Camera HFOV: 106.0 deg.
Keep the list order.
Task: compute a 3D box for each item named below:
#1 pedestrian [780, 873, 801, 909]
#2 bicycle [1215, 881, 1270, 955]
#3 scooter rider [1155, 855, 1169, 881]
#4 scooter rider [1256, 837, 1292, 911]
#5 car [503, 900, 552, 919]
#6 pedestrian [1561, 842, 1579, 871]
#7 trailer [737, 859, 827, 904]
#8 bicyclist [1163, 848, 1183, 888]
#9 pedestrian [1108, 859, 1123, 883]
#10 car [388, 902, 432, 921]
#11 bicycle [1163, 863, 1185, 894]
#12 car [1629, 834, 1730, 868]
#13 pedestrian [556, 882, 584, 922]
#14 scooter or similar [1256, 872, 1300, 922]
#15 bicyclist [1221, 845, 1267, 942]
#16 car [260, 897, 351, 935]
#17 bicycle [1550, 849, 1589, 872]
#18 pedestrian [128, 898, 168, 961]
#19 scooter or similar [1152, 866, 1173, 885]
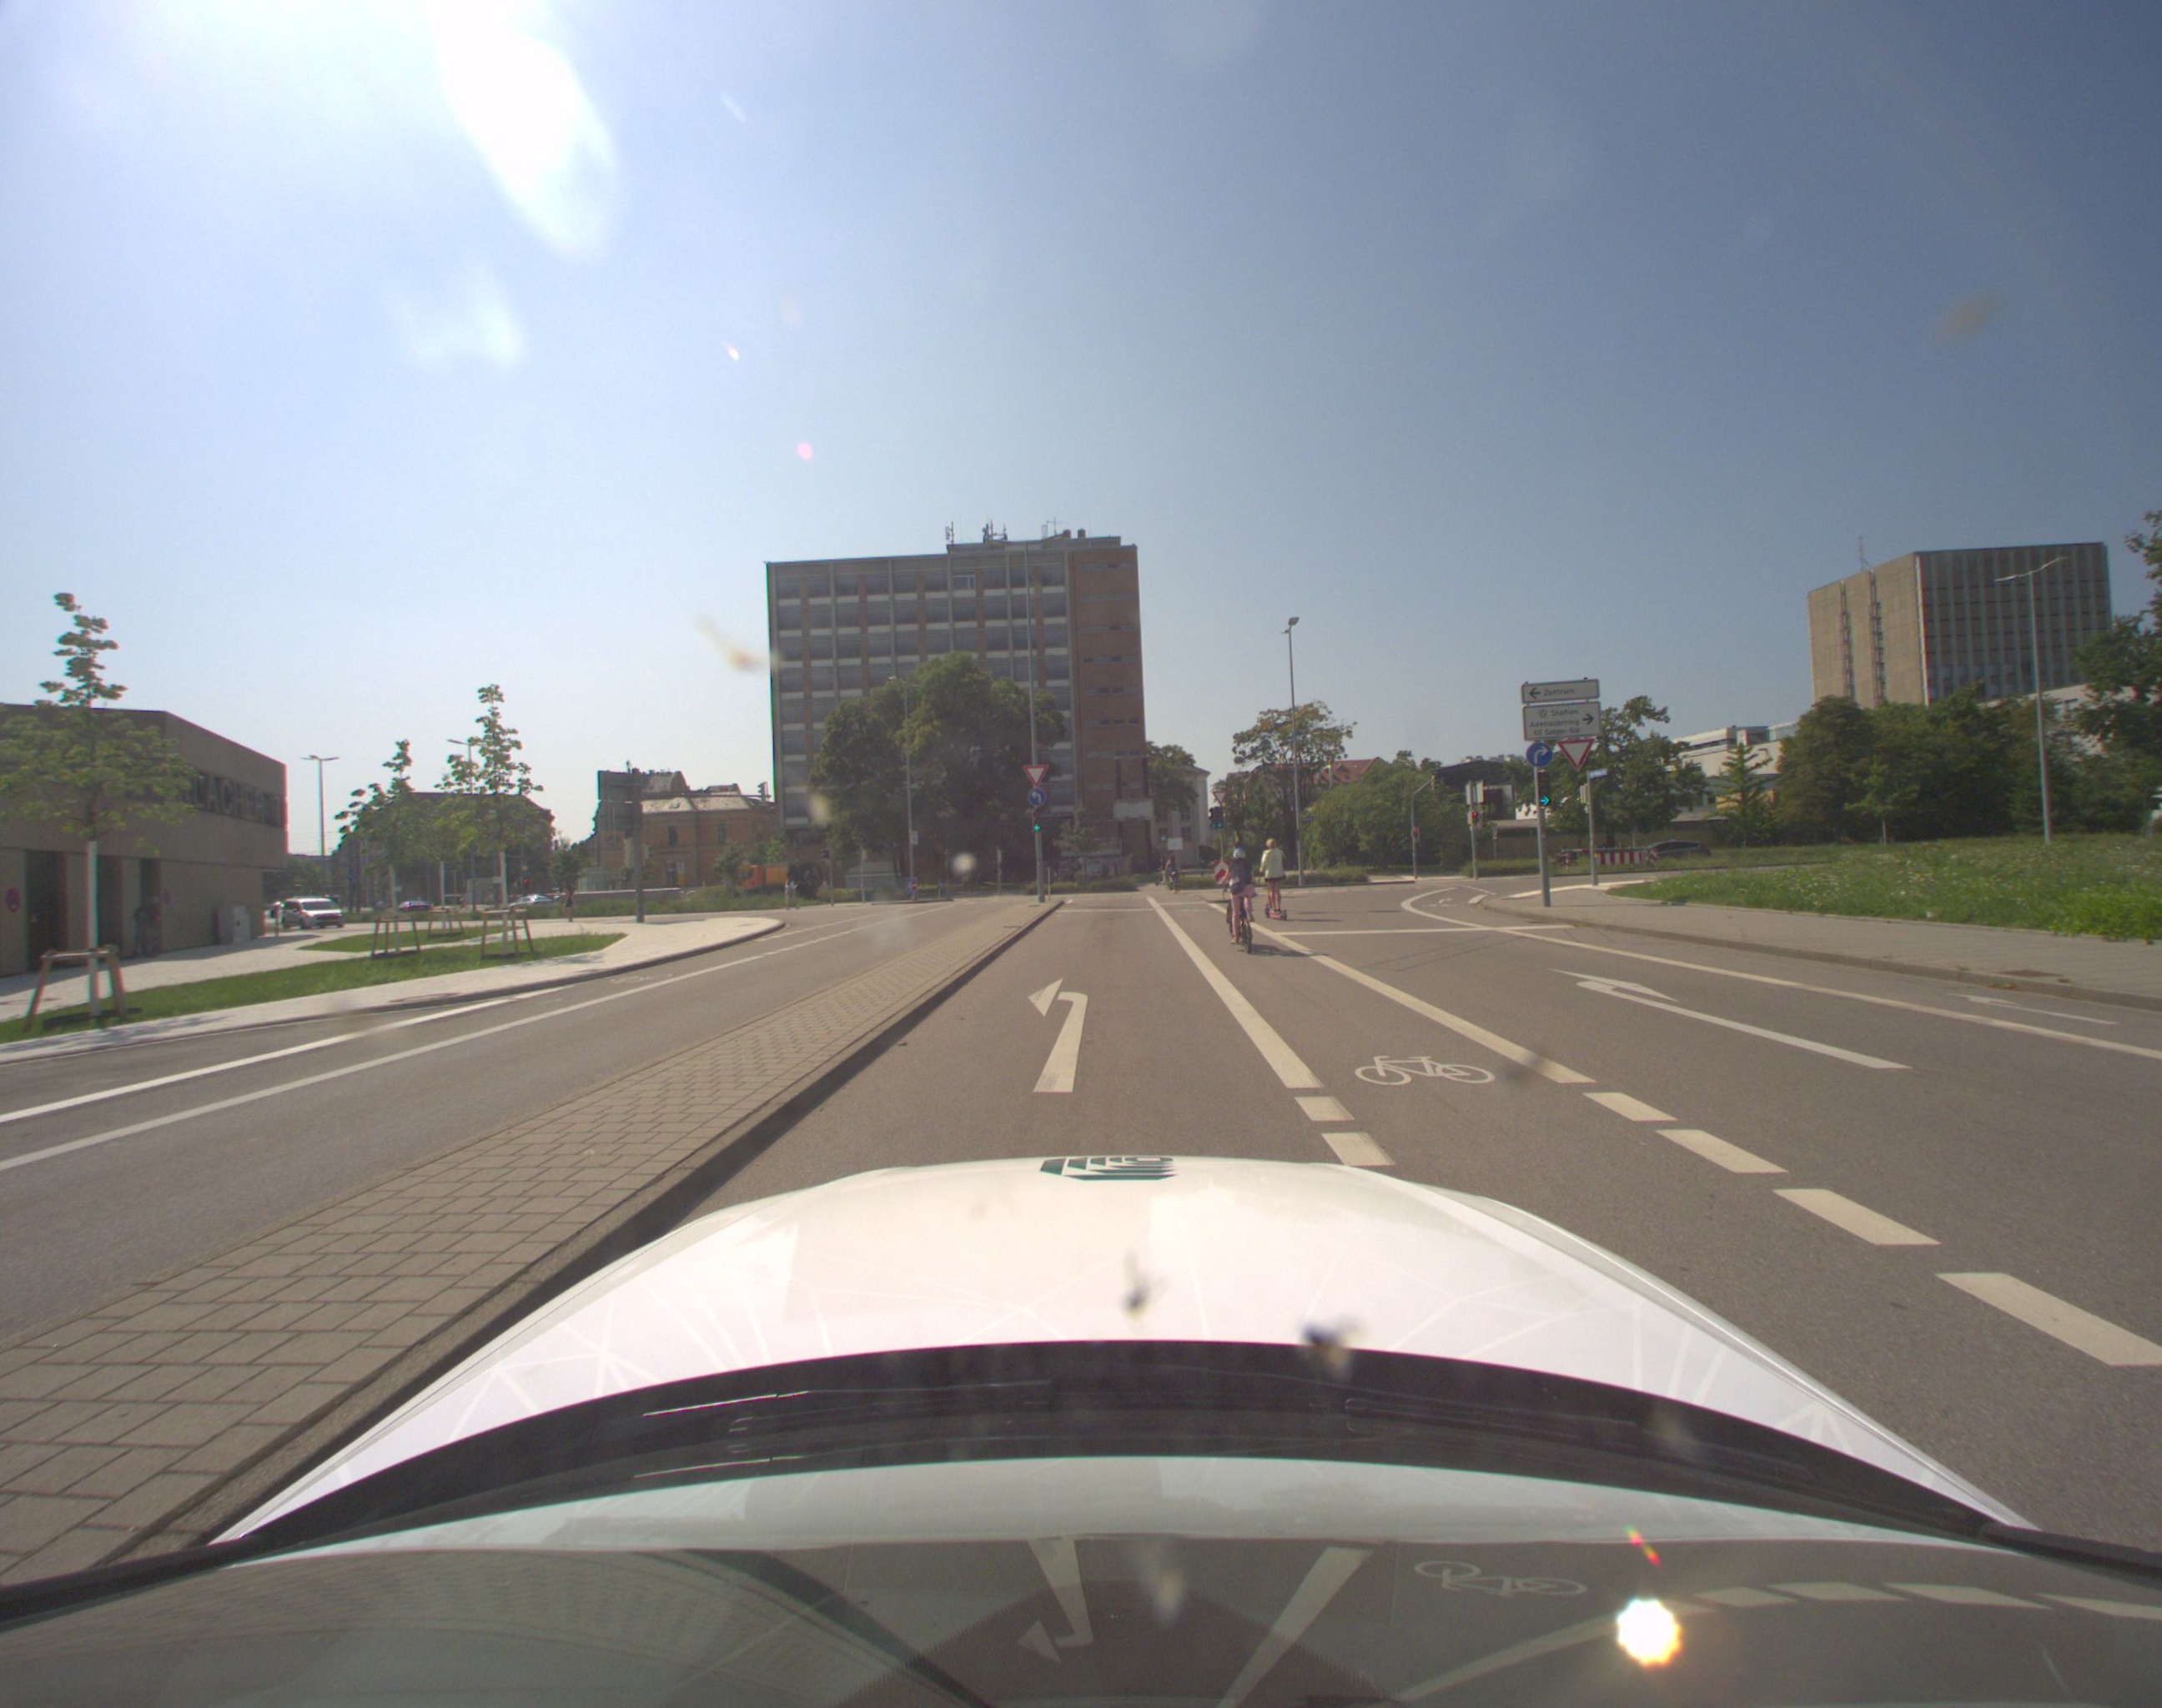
[{"bbox_3d":[-14.189,1.817,39.770,0.600,1.695,0.704,-3,-1,19],"label":"pedestrian"},{"bbox_3d":[2.631,1.006,13.426,0.554,1.060,2.005,-1,0,2],"label":"bicycle"},{"bbox_3d":[5.722,0.991,57.394,0.797,1.739,0.691,-4,-1,14],"label":"scooter rider"},{"bbox_3d":[4.620,0.477,19.538,0.668,1.699,0.539,-3,-1,1],"label":"scooter rider"},{"bbox_3d":[-46.942,4.723,69.053,4.368,1.455,1.774,-3,-2,31],"label":"car"},{"bbox_3d":[28.608,0.143,47.625,0.544,1.669,0.782,-3,-1,7],"label":"pedestrian"},{"bbox_3d":[-21.915,2.029,59.657,6.246,3.008,2.485,-3,-3,25],"label":"trailer"},{"bbox_3d":[3.891,0.583,34.545,0.688,1.598,0.844,-4,1,2],"label":"bicyclist"},{"bbox_3d":[2.603,1.250,60.933,0.869,1.704,0.711,-3,0,19],"label":"pedestrian"},{"bbox_3d":[-55.030,4.749,66.759,3.929,1.404,1.775,-4,-2,34],"label":"car"},{"bbox_3d":[3.913,1.009,34.489,0.691,1.155,2.373,-3,1,3],"label":"bicycle"},{"bbox_3d":[28.480,-0.123,38.836,3.396,1.357,1.794,-3,-3,5],"label":"car"},{"bbox_3d":[-22.748,2.123,36.230,0.778,1.702,0.631,-3,-1,20],"label":"pedestrian"},{"bbox_3d":[4.637,0.987,19.261,0.554,1.060,2.005,-3,0,2],"label":"scooter or similar"},{"bbox_3d":[2.604,0.617,13.074,0.546,1.496,0.804,-2,-1,2],"label":"bicyclist"},{"bbox_3d":[-45.127,3.606,47.405,4.284,1.859,2.010,-3,1,19],"label":"car"},{"bbox_3d":[28.567,0.384,47.632,1.774,1.212,0.788,-3,-1,6],"label":"bicycle"},{"bbox_3d":[-25.868,2.070,22.595,0.571,1.678,0.530,-2,-1,-34],"label":"pedestrian"},{"bbox_3d":[5.742,1.522,57.444,1.354,1.234,0.587,-3,-1,14],"label":"scooter or similar"}]
